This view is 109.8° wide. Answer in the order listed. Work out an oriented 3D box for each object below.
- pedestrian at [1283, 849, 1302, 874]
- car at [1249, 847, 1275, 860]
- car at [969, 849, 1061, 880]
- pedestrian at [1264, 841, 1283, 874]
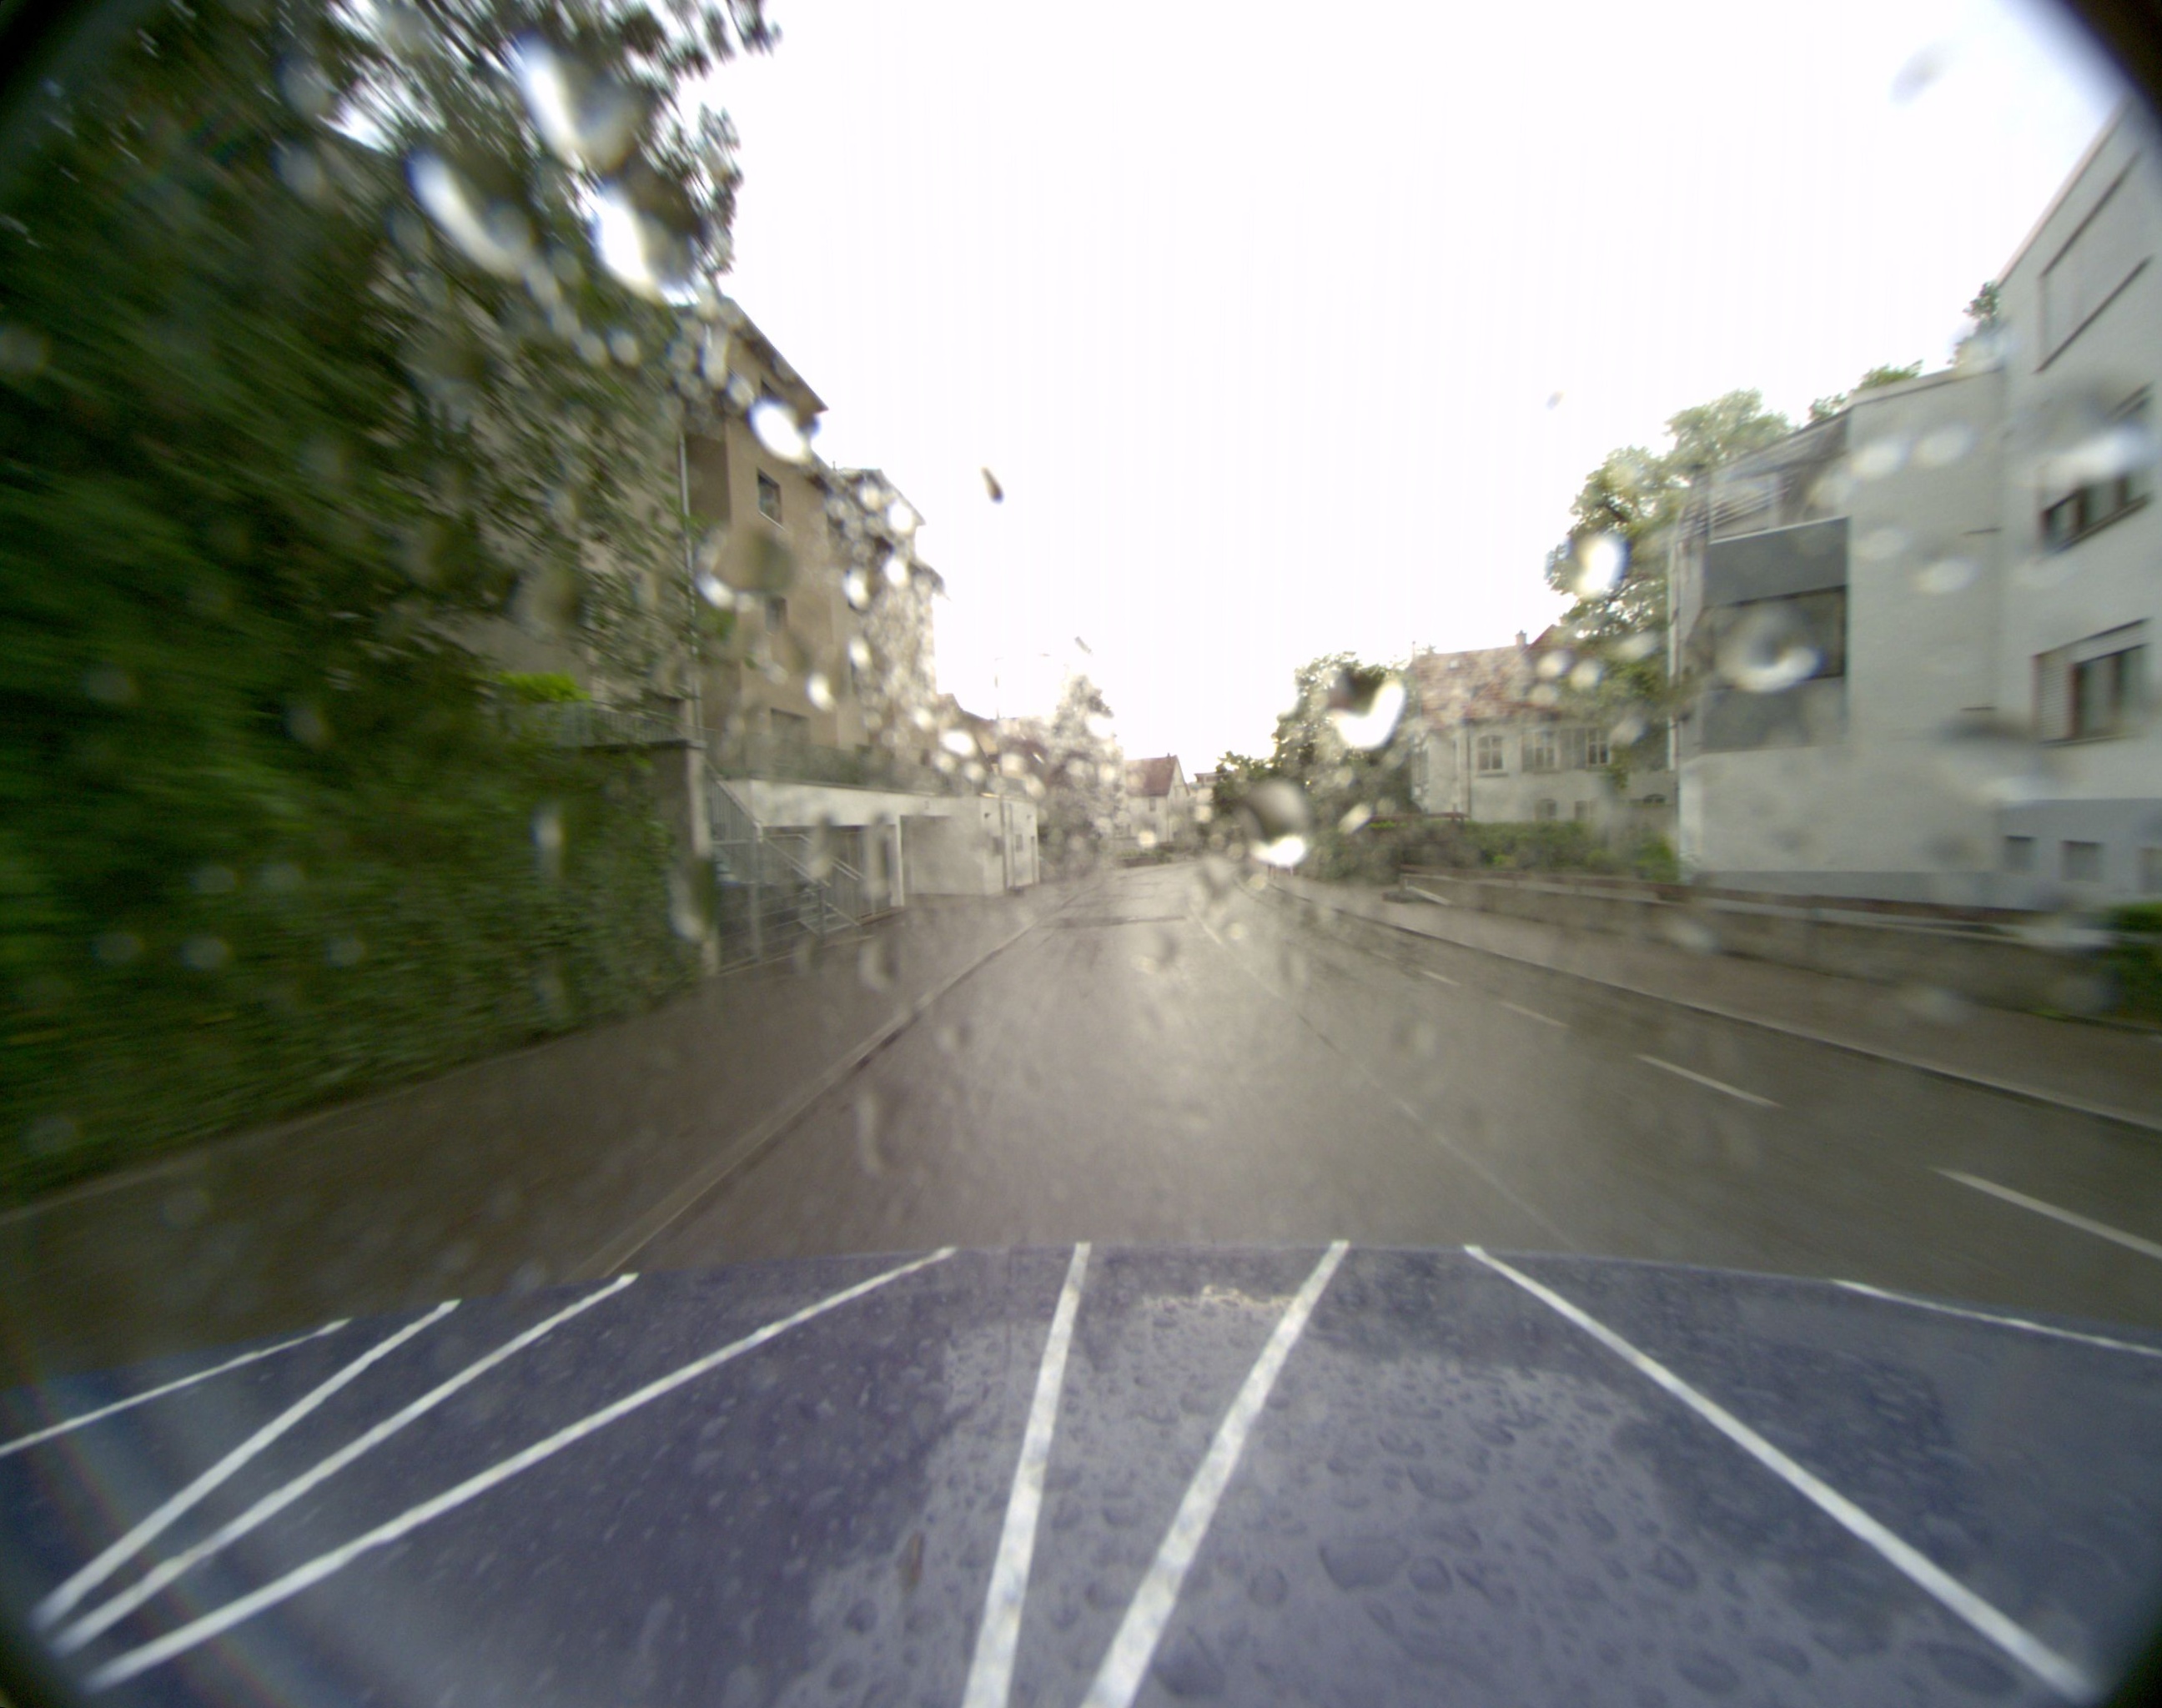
[{"bbox_3d":[10.319,0.372,37.078,0.757,1.173,1.040,-2,1,10],"label":"pedestrian"},{"bbox_3d":[17.242,-0.067,72.242,1.680,1.140,4.006,-1,1,24],"label":"car"},{"bbox_3d":[-3.220,0.514,37.168,3.991,1.449,2.003,-1,1,21],"label":"car"},{"bbox_3d":[9.624,0.162,38.003,0.757,1.634,1.040,-2,1,10],"label":"pedestrian"}]
